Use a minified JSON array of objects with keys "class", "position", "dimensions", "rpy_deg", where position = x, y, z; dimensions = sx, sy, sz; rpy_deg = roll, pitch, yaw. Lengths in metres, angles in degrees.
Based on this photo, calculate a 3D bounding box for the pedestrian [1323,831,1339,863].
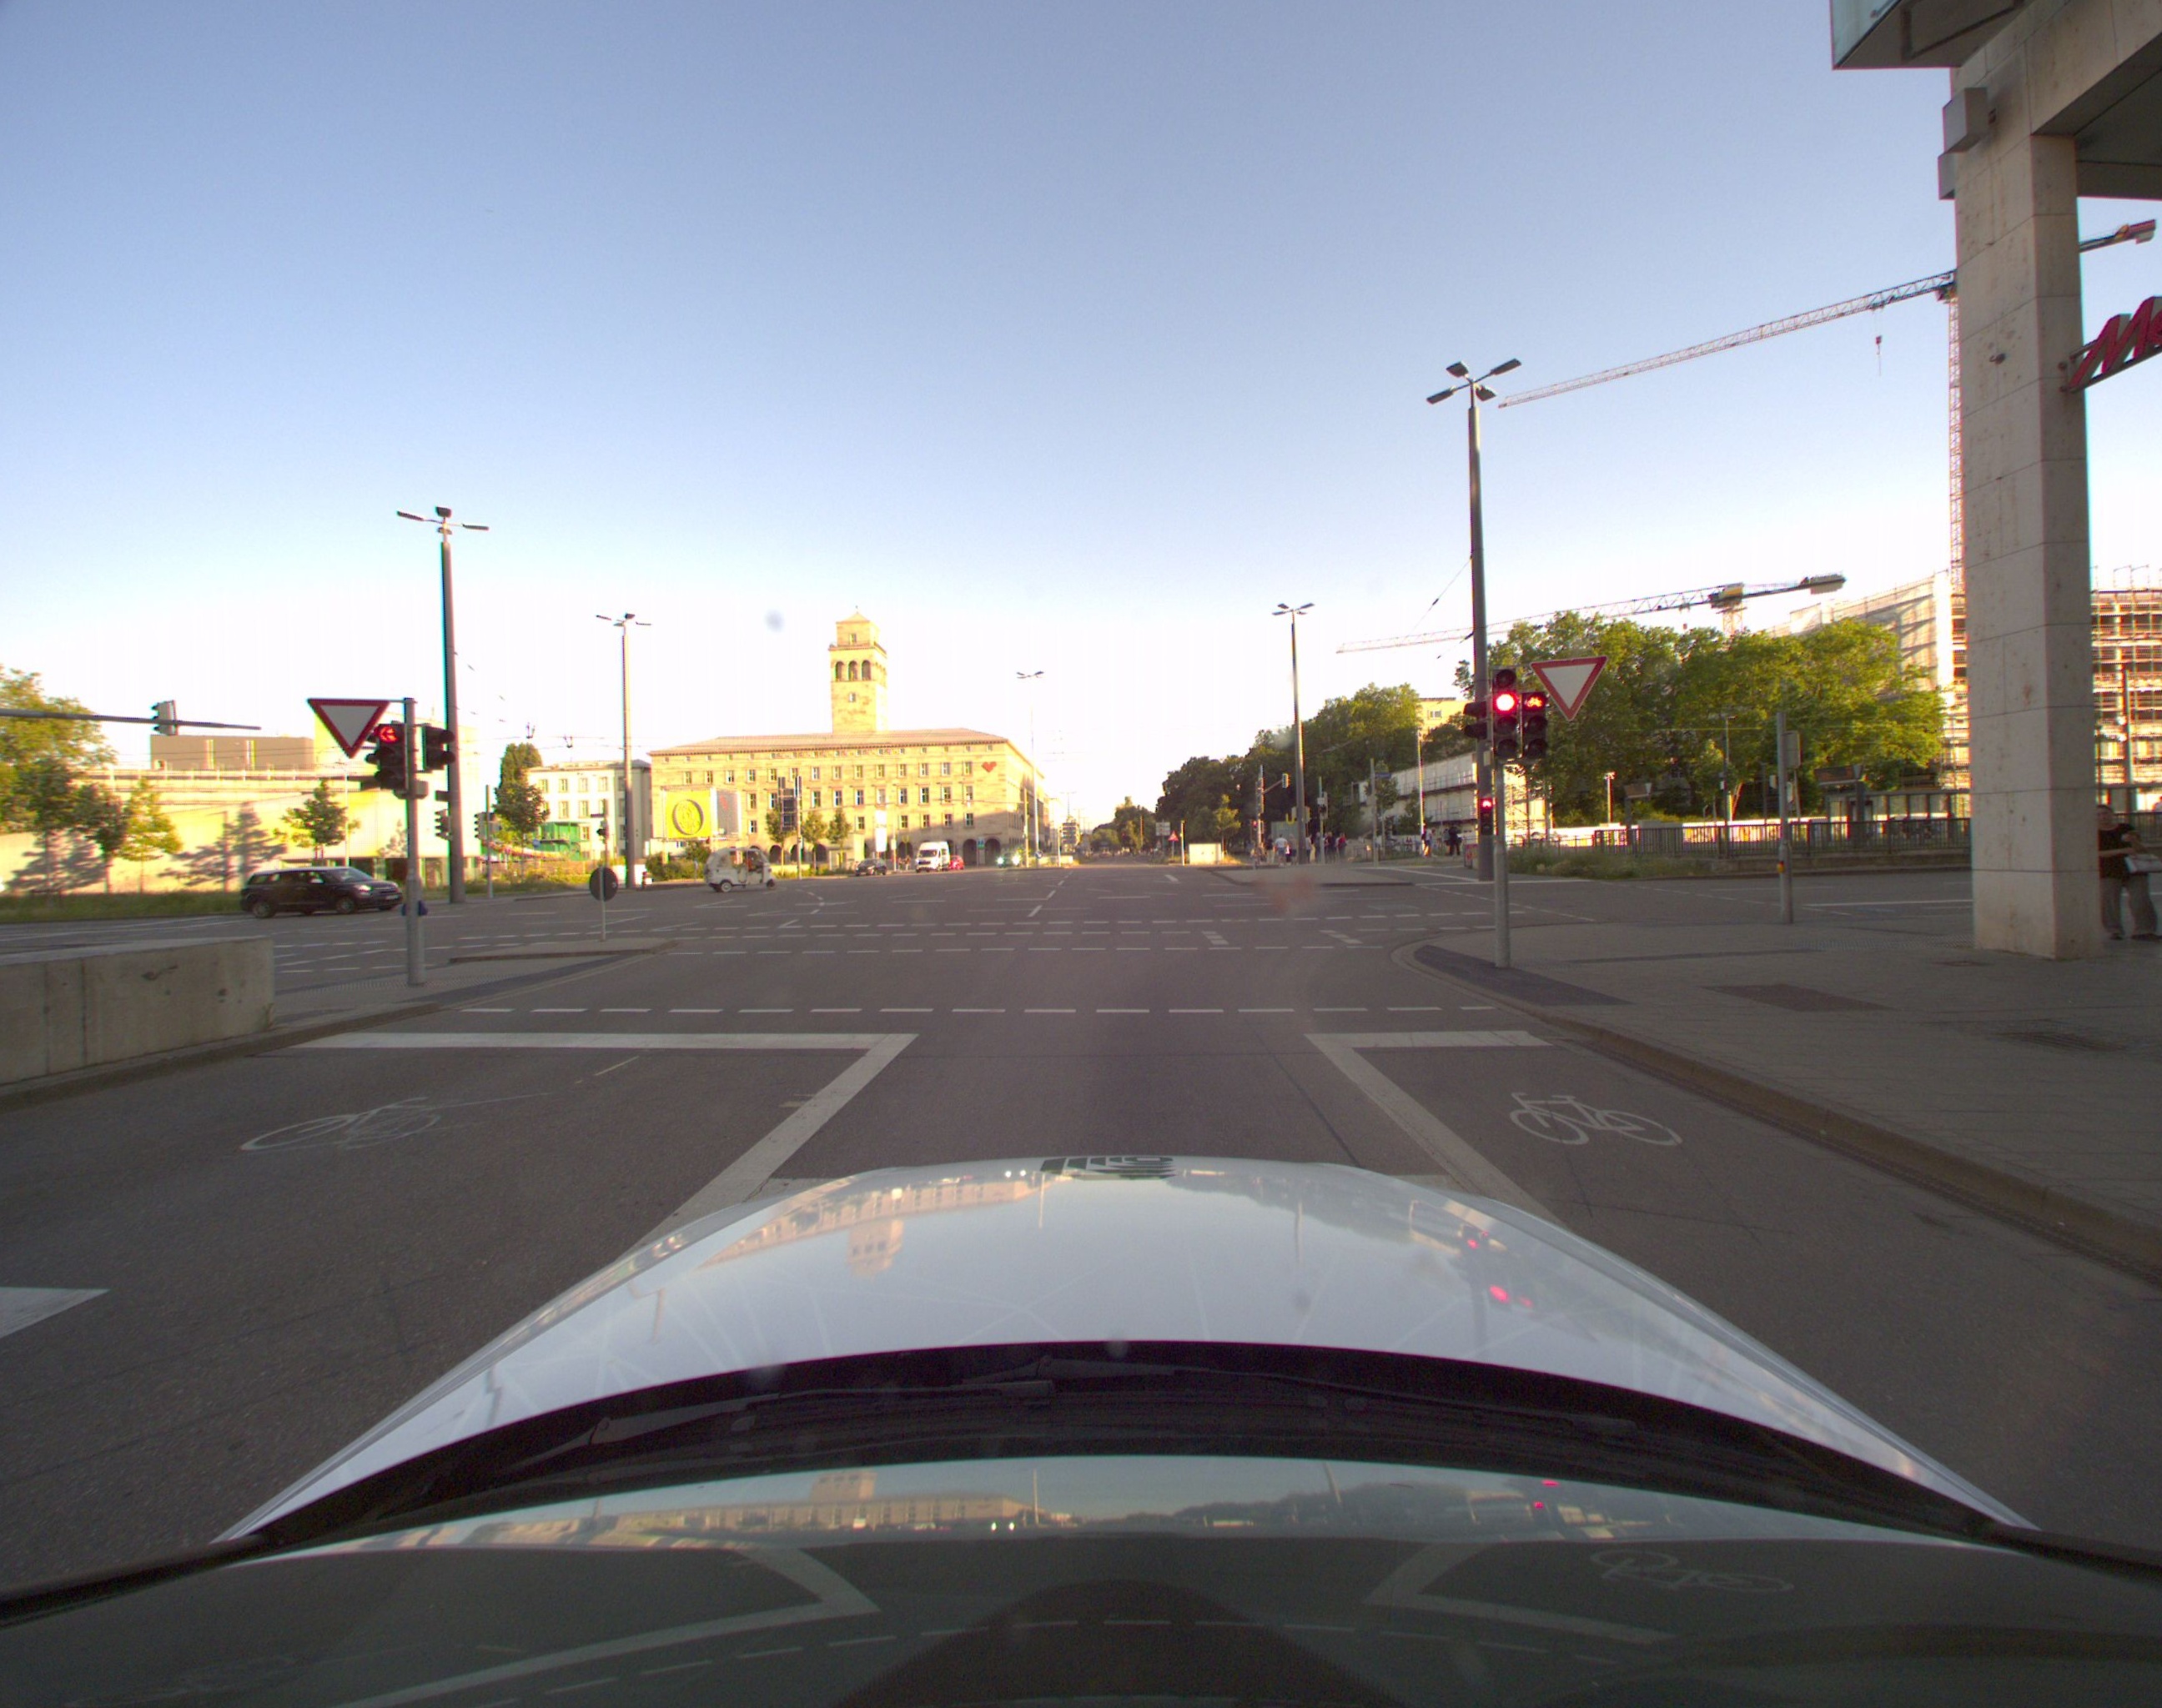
[{"class":"pedestrian","position":[13.938,-0.400,45.489],"dimensions":[0.799,1.791,0.804],"rpy_deg":[-2,1,16]}]

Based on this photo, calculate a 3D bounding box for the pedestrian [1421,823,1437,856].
[{"class":"pedestrian","position":[18.793,-0.767,43.976],"dimensions":[0.661,1.725,0.716],"rpy_deg":[-2,0,13]}]

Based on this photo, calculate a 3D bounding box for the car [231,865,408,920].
[{"class":"car","position":[-25.530,1.263,27.426],"dimensions":[4.113,1.604,1.742],"rpy_deg":[-2,0,-5]}]

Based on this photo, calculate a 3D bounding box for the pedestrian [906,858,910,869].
[{"class":"pedestrian","position":[-20.097,1.126,94.468],"dimensions":[0.420,1.300,0.459],"rpy_deg":[0,-1,-3]}]

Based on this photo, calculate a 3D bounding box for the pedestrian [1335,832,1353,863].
[{"class":"pedestrian","position":[14.802,-0.376,45.838],"dimensions":[0.838,1.734,0.708],"rpy_deg":[-2,1,14]}]

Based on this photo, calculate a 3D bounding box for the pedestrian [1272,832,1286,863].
[{"class":"pedestrian","position":[11.169,-0.363,45.931],"dimensions":[0.706,1.725,0.670],"rpy_deg":[-2,1,12]}]

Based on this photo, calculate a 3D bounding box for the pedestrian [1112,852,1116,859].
[{"class":"pedestrian","position":[7.903,0.370,195.019],"dimensions":[0.903,1.671,1.307],"rpy_deg":[-2,1,1]}]

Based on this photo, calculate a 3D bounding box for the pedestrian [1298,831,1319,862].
[{"class":"pedestrian","position":[12.958,-0.403,46.382],"dimensions":[0.915,1.725,0.708],"rpy_deg":[-2,1,-20]}]

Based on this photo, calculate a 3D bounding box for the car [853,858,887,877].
[{"class":"car","position":[-18.303,1.137,70.896],"dimensions":[1.817,1.466,4.158],"rpy_deg":[-2,1,0]}]

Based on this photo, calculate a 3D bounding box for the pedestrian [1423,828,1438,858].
[{"class":"pedestrian","position":[19.151,-0.589,44.631],"dimensions":[0.569,1.592,0.537],"rpy_deg":[-2,0,1]}]

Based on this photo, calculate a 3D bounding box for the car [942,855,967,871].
[{"class":"car","position":[-12.636,0.888,81.670],"dimensions":[1.732,1.487,4.002],"rpy_deg":[-2,1,2]}]

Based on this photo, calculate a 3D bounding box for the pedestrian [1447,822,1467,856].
[{"class":"pedestrian","position":[19.477,-0.756,42.179],"dimensions":[0.664,1.725,0.713],"rpy_deg":[-2,0,0]}]

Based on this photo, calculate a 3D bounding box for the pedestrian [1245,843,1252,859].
[{"class":"pedestrian","position":[18.960,-0.334,92.204],"dimensions":[0.638,1.760,0.526],"rpy_deg":[-2,1,10]}]

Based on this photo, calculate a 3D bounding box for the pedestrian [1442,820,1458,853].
[{"class":"pedestrian","position":[19.562,-0.927,43.190],"dimensions":[0.705,1.725,0.672],"rpy_deg":[-2,0,19]}]

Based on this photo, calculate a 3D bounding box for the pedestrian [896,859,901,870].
[{"class":"pedestrian","position":[-21.188,1.179,94.501],"dimensions":[0.504,1.300,0.700],"rpy_deg":[0,-1,-3]}]

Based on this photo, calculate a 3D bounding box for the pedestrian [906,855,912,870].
[{"class":"pedestrian","position":[-20.183,1.043,95.459],"dimensions":[0.620,1.744,0.459],"rpy_deg":[0,-1,-4]}]

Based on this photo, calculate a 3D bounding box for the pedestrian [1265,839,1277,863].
[{"class":"pedestrian","position":[14.051,-0.227,60.371],"dimensions":[0.673,1.757,0.907],"rpy_deg":[-2,1,22]}]

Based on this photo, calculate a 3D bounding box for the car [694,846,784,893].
[{"class":"car","position":[-13.655,0.596,32.599],"dimensions":[2.989,1.696,1.471],"rpy_deg":[-2,0,-39]}]

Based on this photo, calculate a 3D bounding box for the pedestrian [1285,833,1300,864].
[{"class":"pedestrian","position":[11.862,-0.312,45.669],"dimensions":[0.705,1.725,0.671],"rpy_deg":[-2,1,15]}]

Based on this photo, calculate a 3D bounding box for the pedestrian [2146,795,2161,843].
[{"class":"pedestrian","position":[45.592,-1.469,34.348],"dimensions":[0.573,2.013,0.568],"rpy_deg":[-2,0,-2]}]

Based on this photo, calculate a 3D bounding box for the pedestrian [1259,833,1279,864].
[{"class":"pedestrian","position":[10.468,-0.302,45.297],"dimensions":[0.704,1.725,0.921],"rpy_deg":[-1,1,36]}]

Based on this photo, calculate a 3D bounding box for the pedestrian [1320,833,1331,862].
[{"class":"pedestrian","position":[14.114,-0.373,46.956],"dimensions":[0.568,1.678,0.641],"rpy_deg":[-2,1,16]}]

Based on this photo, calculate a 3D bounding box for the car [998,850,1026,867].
[{"class":"car","position":[-6.168,0.388,72.961],"dimensions":[1.815,1.341,4.005],"rpy_deg":[-2,1,4]}]

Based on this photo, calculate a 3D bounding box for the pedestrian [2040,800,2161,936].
[{"class":"pedestrian","position":[12.959,0.166,10.295],"dimensions":[0.787,1.638,0.708],"rpy_deg":[-2,0,3]}]

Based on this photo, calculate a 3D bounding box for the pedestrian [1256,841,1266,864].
[{"class":"pedestrian","position":[13.366,-0.133,60.407],"dimensions":[0.555,1.654,0.907],"rpy_deg":[-2,1,22]}]

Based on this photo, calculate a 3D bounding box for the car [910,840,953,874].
[{"class":"car","position":[-13.288,0.228,72.983],"dimensions":[2.269,2.776,6.090],"rpy_deg":[-2,0,4]}]

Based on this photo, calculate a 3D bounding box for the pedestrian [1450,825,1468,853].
[{"class":"pedestrian","position":[20.336,-0.810,43.809],"dimensions":[0.672,1.441,0.716],"rpy_deg":[-2,0,9]}]

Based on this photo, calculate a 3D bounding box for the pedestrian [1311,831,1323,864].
[{"class":"pedestrian","position":[13.217,-0.365,45.566],"dimensions":[0.568,1.791,0.641],"rpy_deg":[-2,1,16]}]
